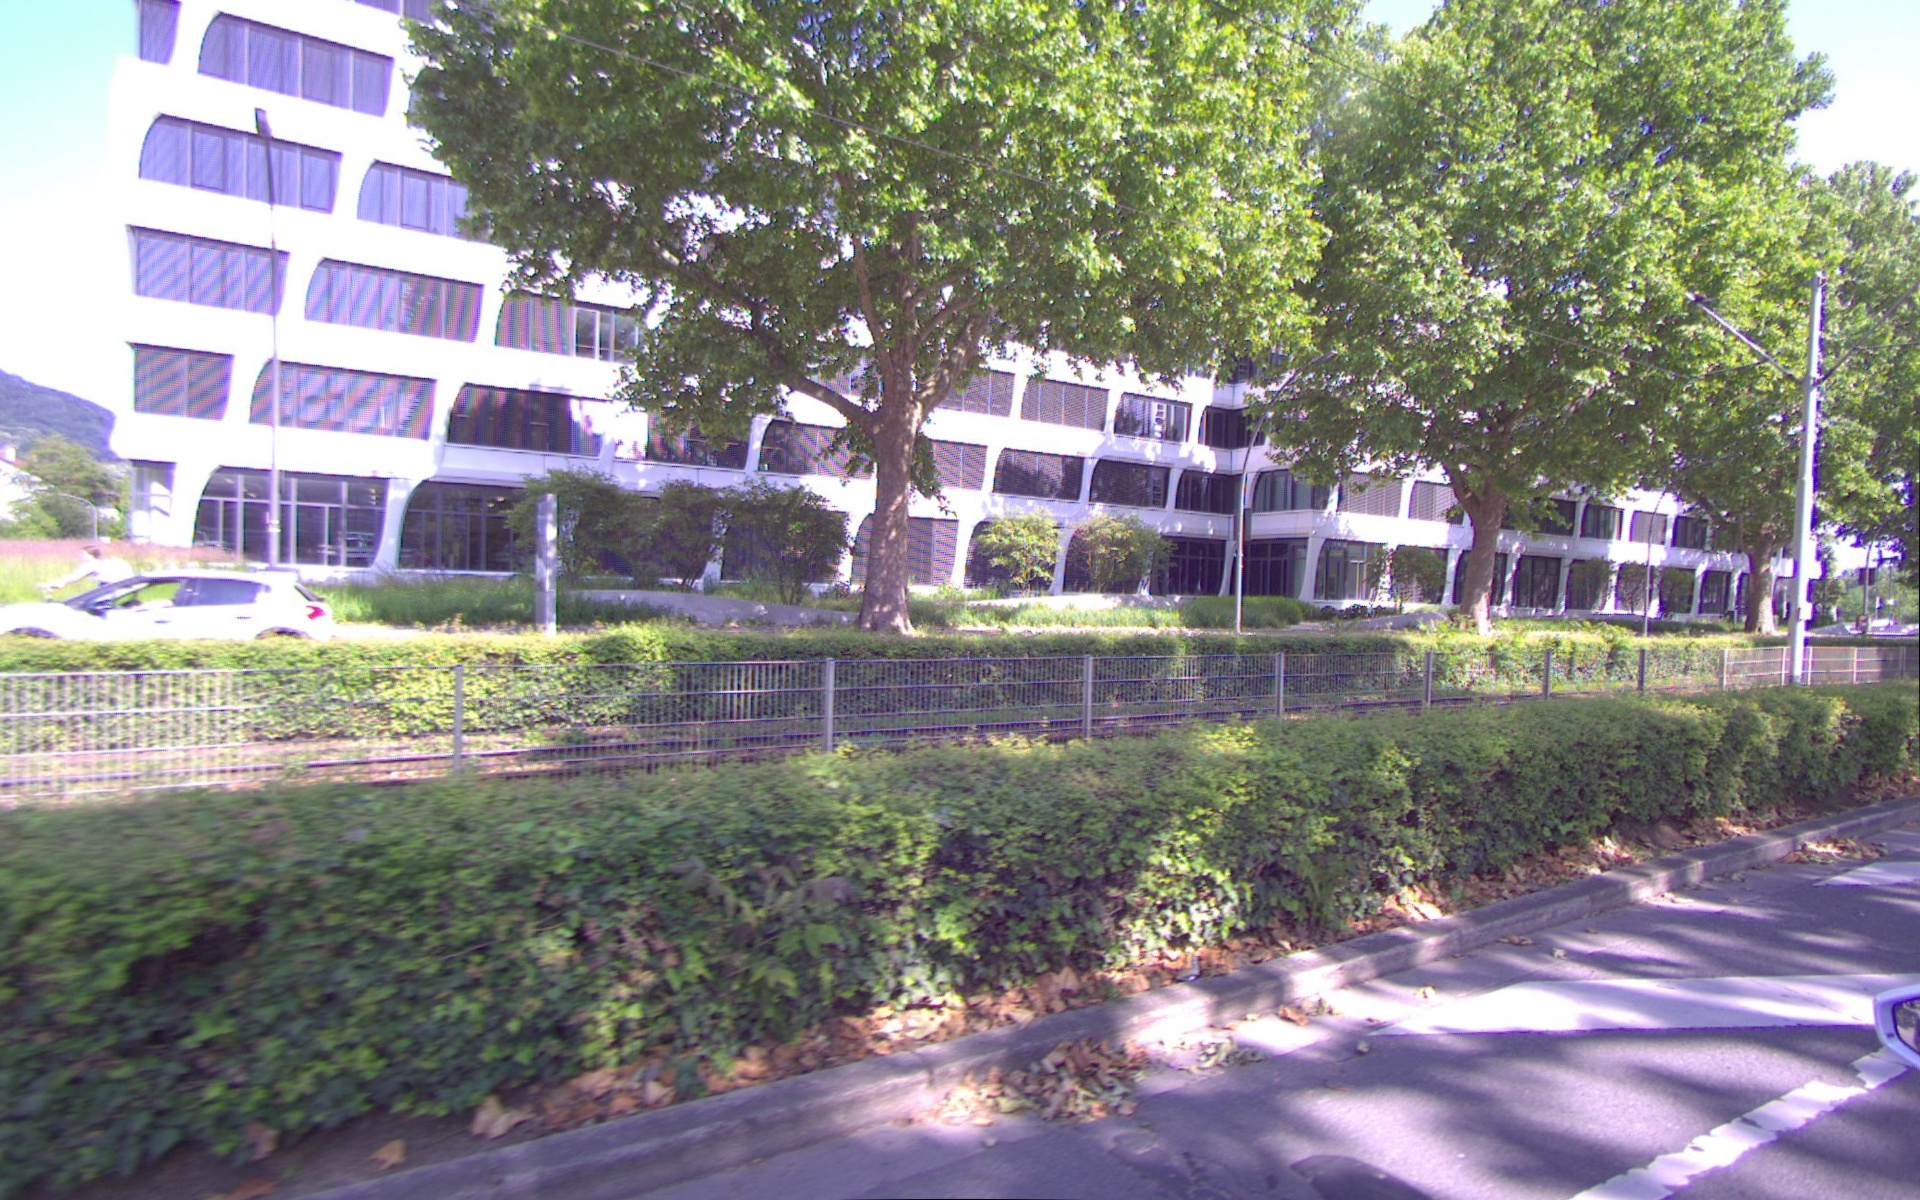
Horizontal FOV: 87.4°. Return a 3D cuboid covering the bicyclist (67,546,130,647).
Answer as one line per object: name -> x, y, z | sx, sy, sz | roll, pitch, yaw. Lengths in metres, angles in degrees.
bicyclist -> -13.702, -0.058, 15.998 | 0.633, 1.555, 0.651 | 1, 1, -30

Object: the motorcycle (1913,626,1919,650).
motorcycle -> 49.795, 1.974, 51.645 | 1.977, 1.190, 0.629 | 1, 1, -31

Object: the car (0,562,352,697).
car -> -10.494, 0.359, 13.442 | 3.972, 1.591, 1.747 | 1, 1, -31

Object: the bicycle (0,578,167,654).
bicycle -> -13.900, 0.263, 15.906 | 2.007, 1.139, 0.661 | 1, 1, -31
